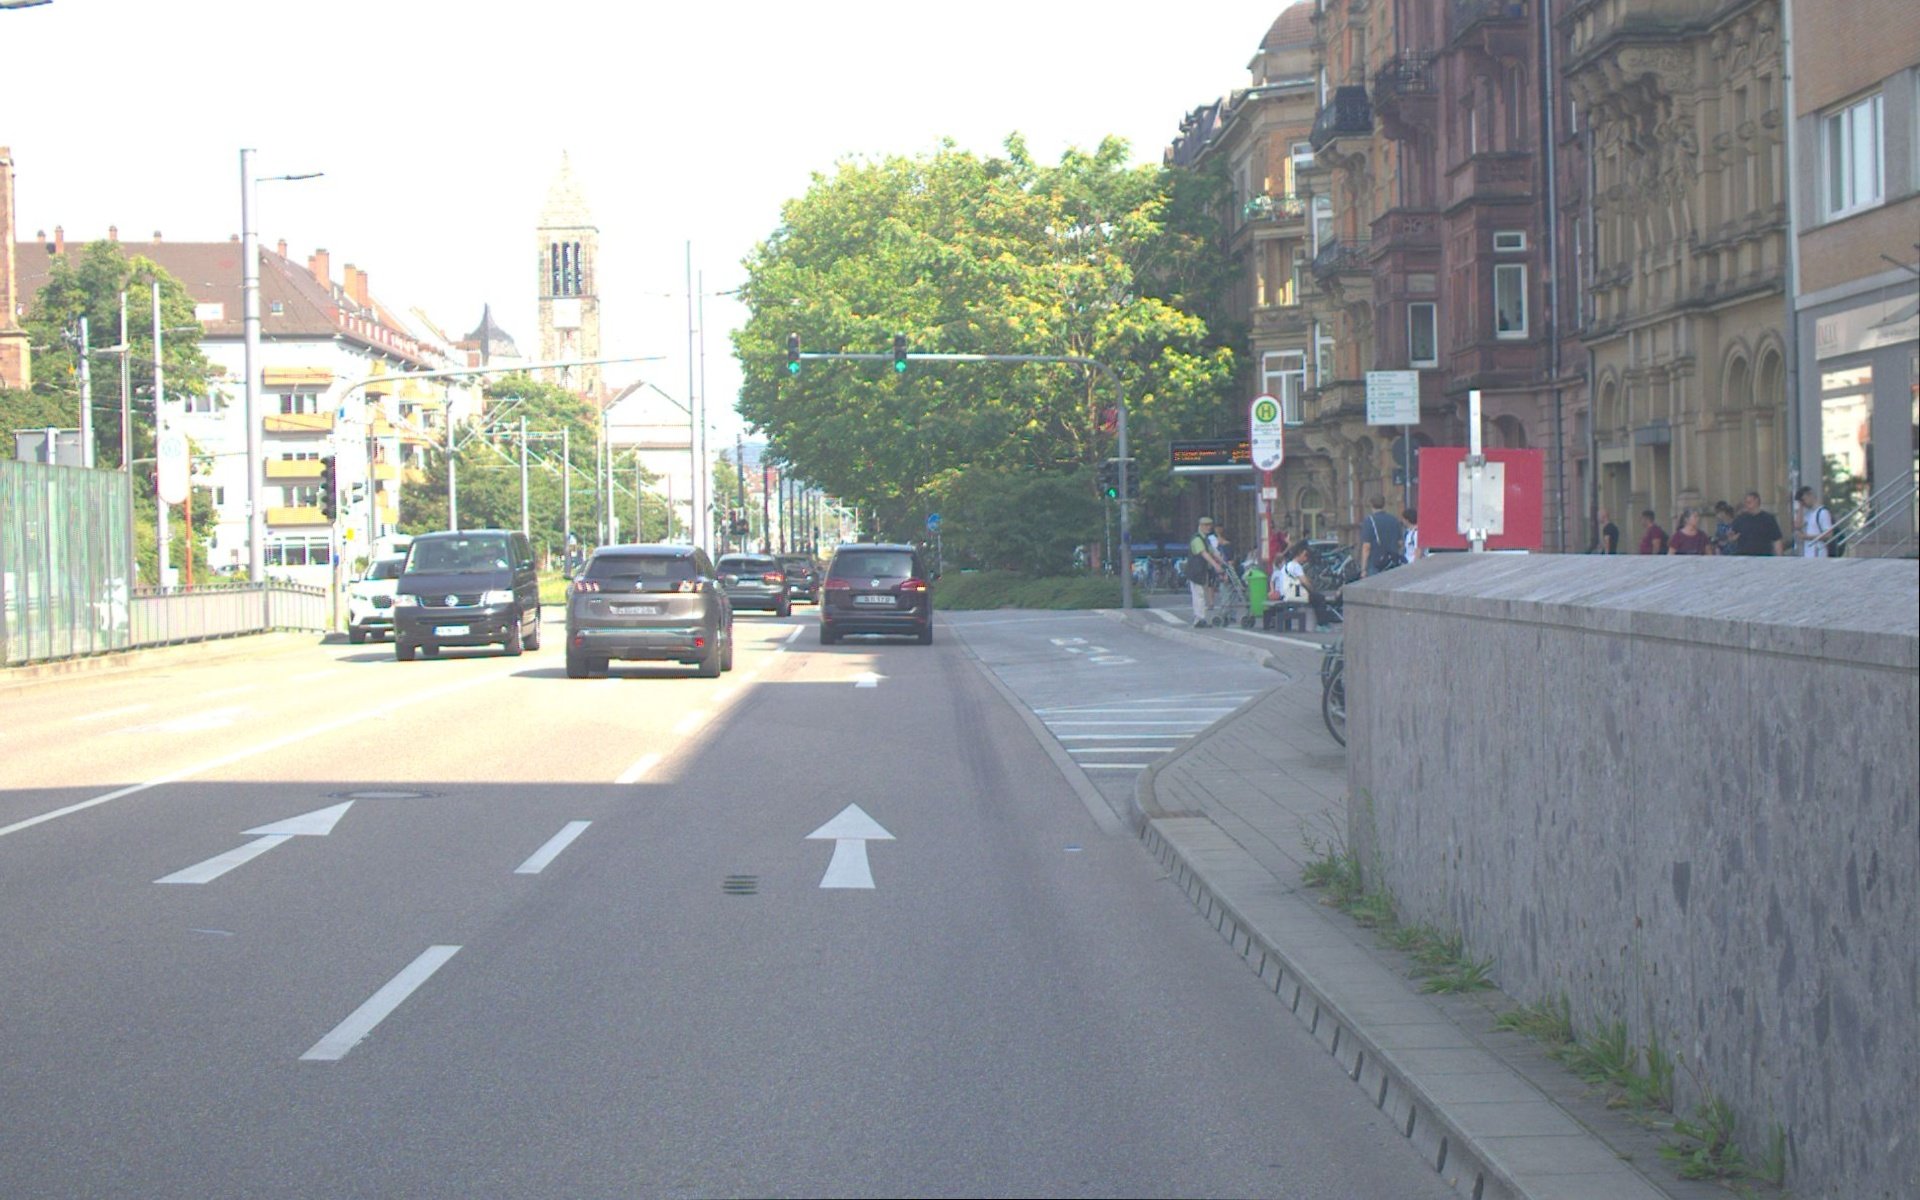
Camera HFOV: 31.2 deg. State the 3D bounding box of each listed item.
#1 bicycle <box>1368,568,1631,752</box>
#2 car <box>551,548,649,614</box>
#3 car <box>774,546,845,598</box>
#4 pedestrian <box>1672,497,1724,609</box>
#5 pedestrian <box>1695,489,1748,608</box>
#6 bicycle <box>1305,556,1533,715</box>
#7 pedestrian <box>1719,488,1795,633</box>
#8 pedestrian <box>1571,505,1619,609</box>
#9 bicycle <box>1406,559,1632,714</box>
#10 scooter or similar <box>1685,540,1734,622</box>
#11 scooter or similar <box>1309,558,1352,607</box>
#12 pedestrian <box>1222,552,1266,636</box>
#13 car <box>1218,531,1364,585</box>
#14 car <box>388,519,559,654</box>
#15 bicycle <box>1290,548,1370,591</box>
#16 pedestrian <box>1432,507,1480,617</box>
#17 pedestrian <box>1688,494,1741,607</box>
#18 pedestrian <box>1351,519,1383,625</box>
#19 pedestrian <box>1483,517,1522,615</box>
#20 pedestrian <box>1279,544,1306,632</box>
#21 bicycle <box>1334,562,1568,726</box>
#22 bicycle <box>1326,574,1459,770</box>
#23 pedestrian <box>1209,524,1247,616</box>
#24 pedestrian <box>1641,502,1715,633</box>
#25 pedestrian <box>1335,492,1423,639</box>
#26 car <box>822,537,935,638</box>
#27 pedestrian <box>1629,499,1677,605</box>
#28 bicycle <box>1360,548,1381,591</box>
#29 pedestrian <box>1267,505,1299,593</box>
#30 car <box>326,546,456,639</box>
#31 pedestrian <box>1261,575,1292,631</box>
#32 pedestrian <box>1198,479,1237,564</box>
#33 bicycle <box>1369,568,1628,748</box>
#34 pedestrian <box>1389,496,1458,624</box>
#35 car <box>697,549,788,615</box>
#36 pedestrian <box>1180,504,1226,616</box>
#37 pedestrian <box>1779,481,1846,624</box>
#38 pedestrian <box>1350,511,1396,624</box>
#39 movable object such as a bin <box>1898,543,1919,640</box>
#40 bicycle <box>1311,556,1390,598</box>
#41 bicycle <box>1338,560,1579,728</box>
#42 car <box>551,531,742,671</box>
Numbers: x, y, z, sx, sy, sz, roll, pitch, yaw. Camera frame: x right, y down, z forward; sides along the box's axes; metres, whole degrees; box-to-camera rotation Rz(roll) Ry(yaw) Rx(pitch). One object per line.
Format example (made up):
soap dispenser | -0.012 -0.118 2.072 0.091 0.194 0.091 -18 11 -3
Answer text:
bicycle | 3.521 0.388 22.467 1.632 1.144 0.385 -1 1 -5
car | -7.863 -0.435 75.443 1.713 1.326 4.521 -2 1 -1
car | -4.243 -0.812 97.492 1.864 1.419 4.357 0 1 -1
pedestrian | 11.226 -0.721 52.273 0.603 1.686 0.587 -1 1 -4
pedestrian | 11.205 -0.762 50.601 0.603 1.725 0.511 -1 1 -4
bicycle | 3.461 0.263 25.961 1.632 1.144 0.385 -1 1 -5
pedestrian | 9.909 -0.493 42.767 0.720 1.781 0.856 -1 1 0
pedestrian | 10.600 -0.715 57.424 0.629 1.713 0.691 -1 1 -1
bicycle | 4.315 0.278 26.601 1.633 1.144 0.601 -1 1 1
scooter or similar | 10.761 -0.276 49.378 0.360 1.159 1.152 -1 1 -4
scooter or similar | 5.730 -0.275 53.129 0.565 0.739 0.514 -1 1 -4
pedestrian | 4.397 -0.093 53.248 0.565 1.273 0.597 -1 1 -5
car | 10.278 -1.319 106.941 4.179 1.558 2.000 -1 1 -5
car | -7.434 -0.244 52.951 1.993 1.898 4.716 -2 1 -1
bicycle | 9.406 -0.770 87.460 1.927 1.044 0.500 -1 1 -6
pedestrian | 8.224 -0.638 57.017 0.617 1.798 1.071 -1 1 0
pedestrian | 11.314 -0.744 51.559 0.603 1.686 0.587 -1 1 -4
pedestrian | 6.679 -0.468 56.435 0.341 1.726 0.806 -1 1 -4
pedestrian | 9.007 -0.565 57.079 0.486 1.605 0.813 -1 1 0
pedestrian | 4.845 -0.174 50.072 0.275 1.270 0.448 -1 1 -8
bicycle | 3.602 0.317 25.240 1.632 1.144 0.385 -1 1 -5
bicycle | 2.664 0.421 21.322 0.407 1.144 1.656 -1 1 -7
pedestrian | 4.723 -0.534 60.643 0.528 1.606 0.703 -1 1 -4
pedestrian | 8.965 -0.406 42.924 0.720 1.605 0.856 -1 1 0
pedestrian | 5.295 -0.439 43.471 0.925 1.825 0.801 -1 1 -4
car | -1.345 -0.247 58.018 1.831 1.615 4.357 0 1 -1
pedestrian | 10.932 -0.765 54.242 0.603 1.649 0.587 -1 1 -2
bicycle | 10.247 -0.757 85.903 0.416 1.044 1.670 -1 1 4
pedestrian | 6.311 -1.006 67.187 0.481 1.696 0.703 -1 1 -4
car | -10.615 -0.172 64.392 1.713 1.606 4.505 -2 1 -1
pedestrian | 4.743 0.042 51.542 0.303 0.817 0.604 -1 1 -8
pedestrian | 5.053 -1.540 67.509 0.690 1.658 0.619 -1 1 0
bicycle | 3.589 0.381 22.935 1.632 1.144 0.385 -1 1 -5
pedestrian | 6.357 -0.554 47.159 0.749 1.723 0.801 -1 1 -4
car | -4.943 -0.431 78.696 1.864 1.419 4.357 0 1 -1
pedestrian | 3.760 -0.622 53.195 0.565 1.723 0.745 -1 1 -4
pedestrian | 11.025 -0.619 44.465 0.603 1.825 0.742 -1 1 -4
pedestrian | 6.379 -0.502 53.098 0.565 1.723 0.617 -1 1 -4
movable object such as a bin | 11.067 -0.105 38.656 0.736 1.077 0.670 -2 1 -18
bicycle | 10.052 -0.591 88.442 1.927 1.044 0.500 -1 1 -6
bicycle | 3.558 0.308 24.565 1.632 1.144 0.385 -1 1 -5
car | -3.788 -0.030 42.162 1.993 1.615 4.357 0 1 -1
